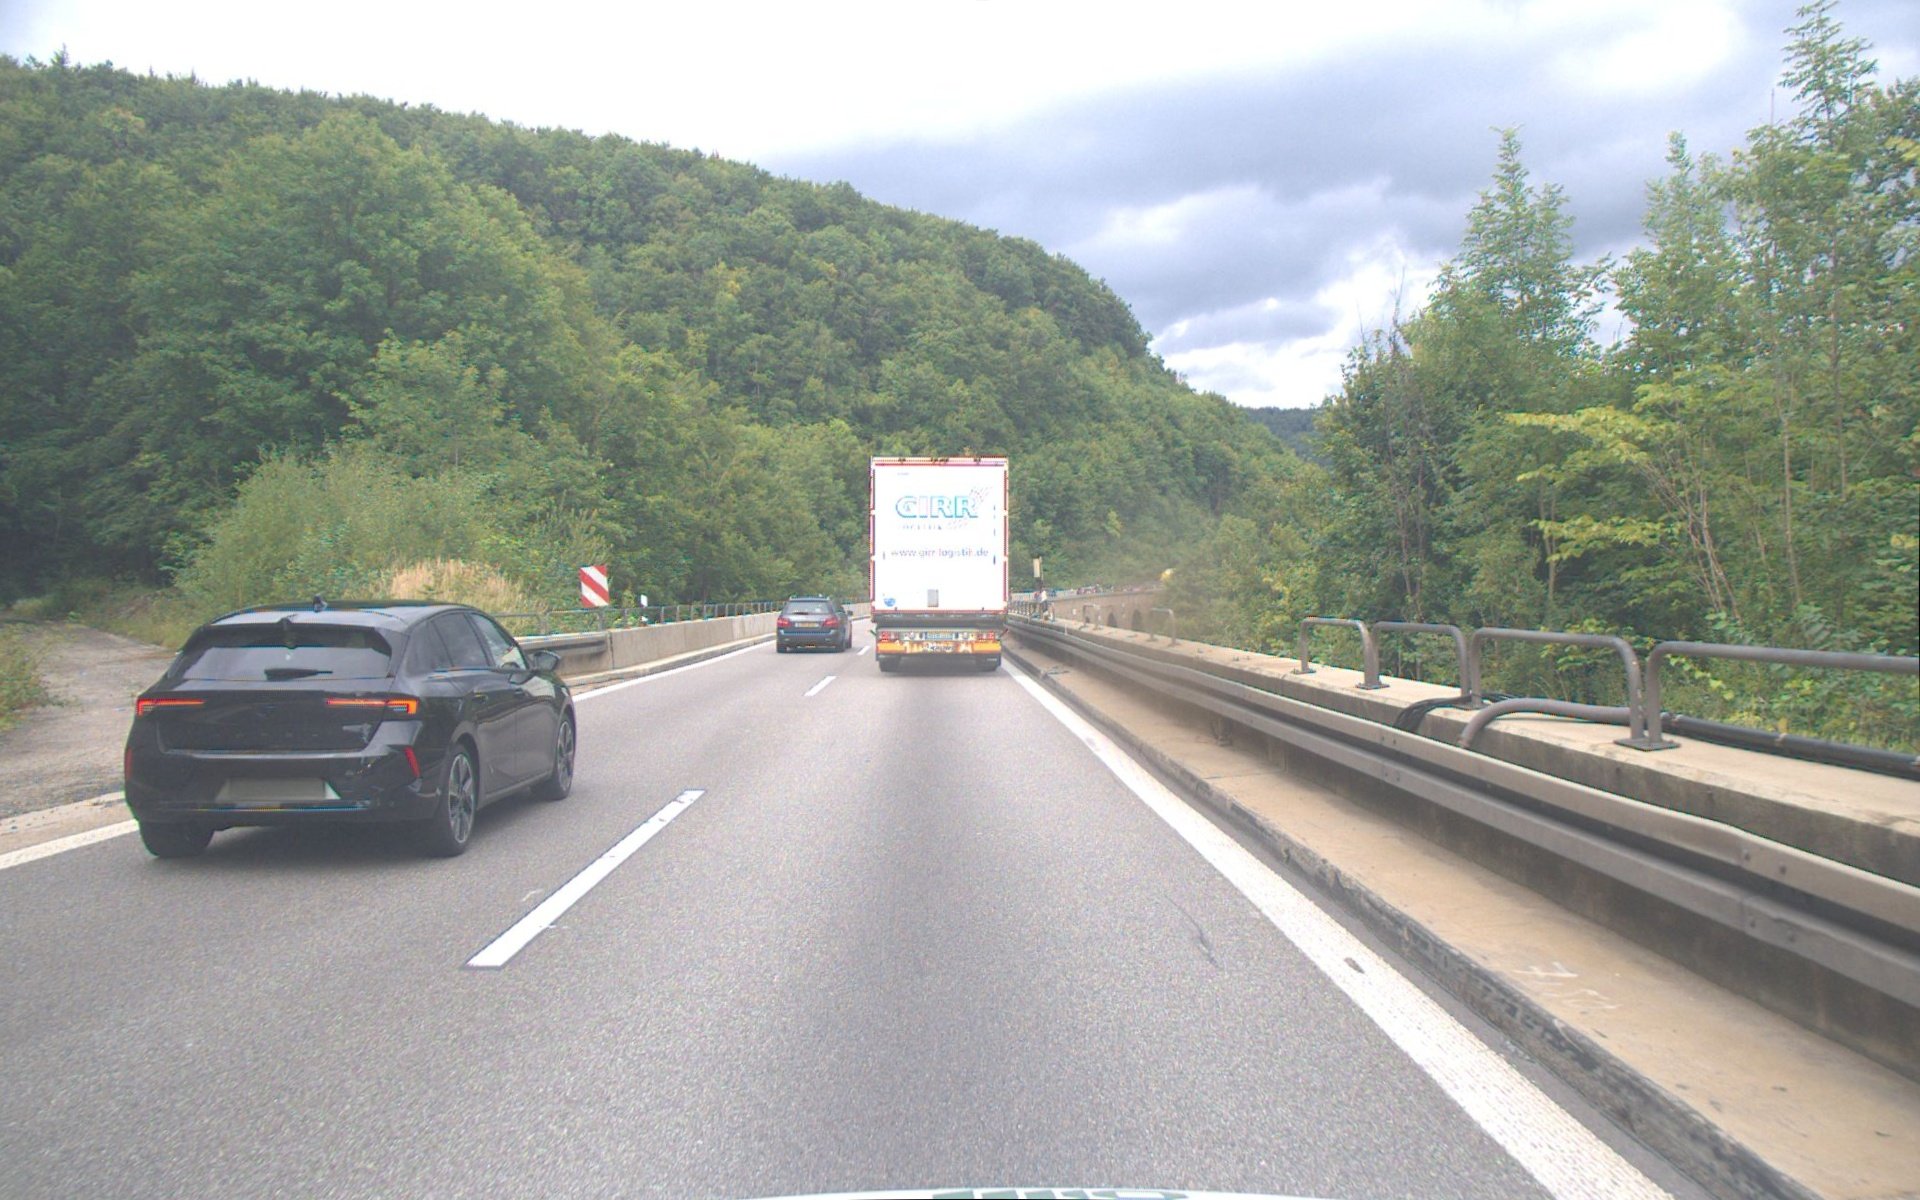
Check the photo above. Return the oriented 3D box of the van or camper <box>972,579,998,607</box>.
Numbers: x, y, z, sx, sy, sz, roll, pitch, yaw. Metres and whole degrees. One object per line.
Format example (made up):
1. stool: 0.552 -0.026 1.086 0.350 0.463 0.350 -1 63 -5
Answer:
1. van or camper: 2.442 -0.682 161.141 1.951 2.604 4.003 -1 -1 10

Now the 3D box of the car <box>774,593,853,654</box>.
1. car: -3.955 0.620 45.145 1.845 1.536 4.417 -1 0 -1

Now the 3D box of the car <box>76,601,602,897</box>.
1. car: -3.668 0.760 10.747 1.737 1.486 4.580 0 0 -1

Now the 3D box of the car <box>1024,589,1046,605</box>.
1. car: 7.915 -0.304 174.164 1.951 1.713 4.003 -1 -1 9

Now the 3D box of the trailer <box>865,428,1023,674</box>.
1. trailer: -0.393 -0.845 35.930 2.756 4.378 12.241 -1 0 -1
